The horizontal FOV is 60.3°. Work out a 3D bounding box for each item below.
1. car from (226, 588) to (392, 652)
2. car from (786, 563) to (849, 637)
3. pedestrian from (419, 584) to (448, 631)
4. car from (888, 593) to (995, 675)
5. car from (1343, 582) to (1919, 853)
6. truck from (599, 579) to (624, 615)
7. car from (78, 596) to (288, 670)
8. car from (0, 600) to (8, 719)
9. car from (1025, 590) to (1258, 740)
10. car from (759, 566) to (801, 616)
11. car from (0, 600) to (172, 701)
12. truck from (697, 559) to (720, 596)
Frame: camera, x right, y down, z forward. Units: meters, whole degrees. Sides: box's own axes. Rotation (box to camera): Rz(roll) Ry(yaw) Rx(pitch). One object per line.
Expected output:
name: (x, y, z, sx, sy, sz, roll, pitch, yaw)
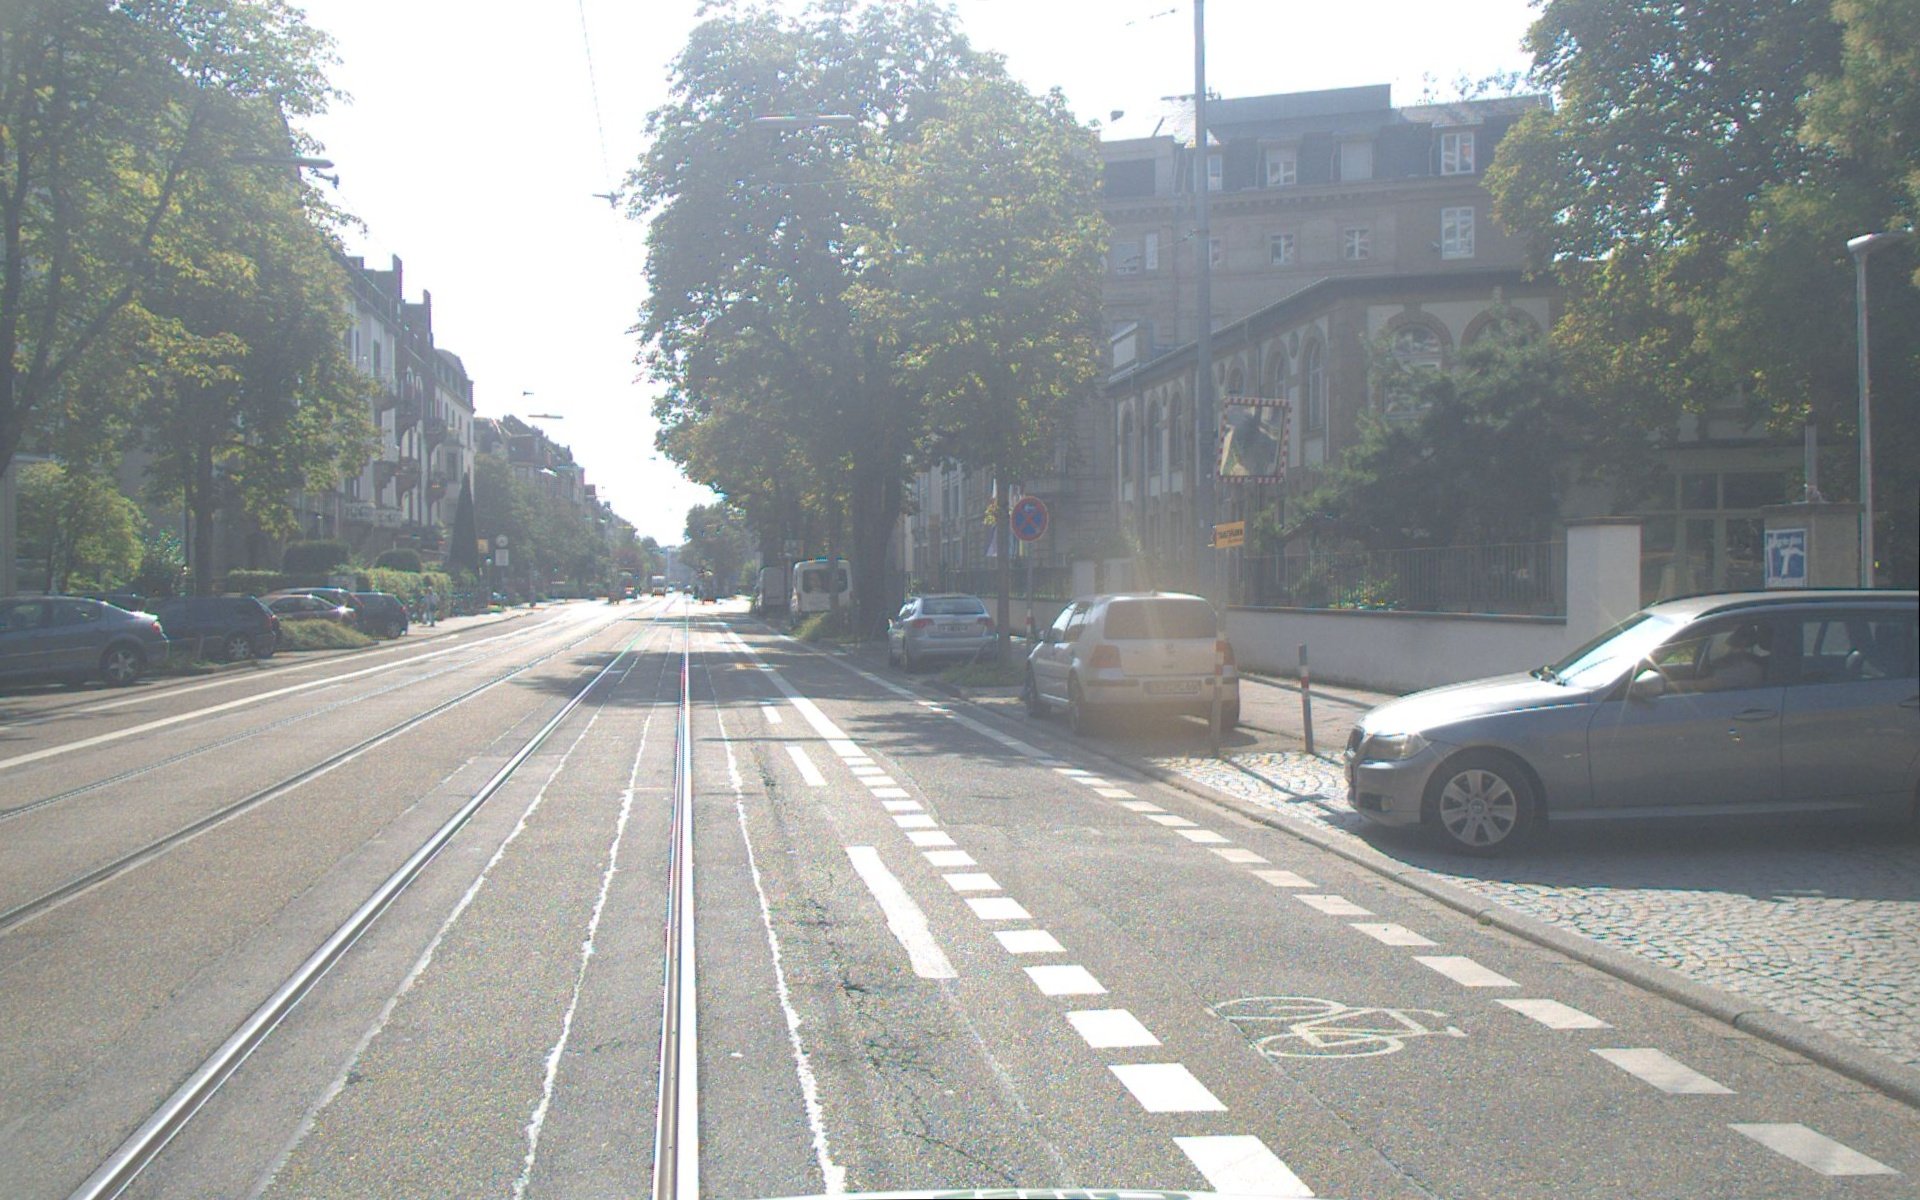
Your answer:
car: (-17.733, 0.518, 45.120, 3.956, 1.668, 1.669, 0, 0, -37)
car: (-5.121, -0.006, 59.080, 1.967, 2.534, 4.468, 0, 0, -9)
pedestrian: (-20.087, 0.287, 63.113, 0.944, 1.791, 0.659, 0, 0, -11)
car: (-0.405, 0.596, 31.396, 1.565, 1.443, 3.627, 0, 0, -9)
car: (4.689, 0.672, 10.283, 4.326, 1.434, 1.807, -2, 0, 9)
truck: (-30.398, -0.268, 144.486, 1.957, 3.027, 4.560, 0, 0, -10)
car: (-16.252, 0.655, 34.724, 1.538, 1.431, 3.751, 0, 0, 34)
car: (-13.478, 0.755, 19.399, 1.536, 1.468, 3.756, 0, 0, 30)
car: (1.855, 0.617, 17.959, 1.658, 1.443, 3.627, 0, 0, -9)
car: (-9.340, -0.468, 85.512, 1.967, 2.518, 4.468, 0, 0, -9)
car: (-14.445, 0.752, 25.664, 1.538, 1.468, 3.751, 0, 0, 34)
truck: (-22.176, -1.945, 145.738, 1.828, 3.185, 4.340, 0, 0, -11)
